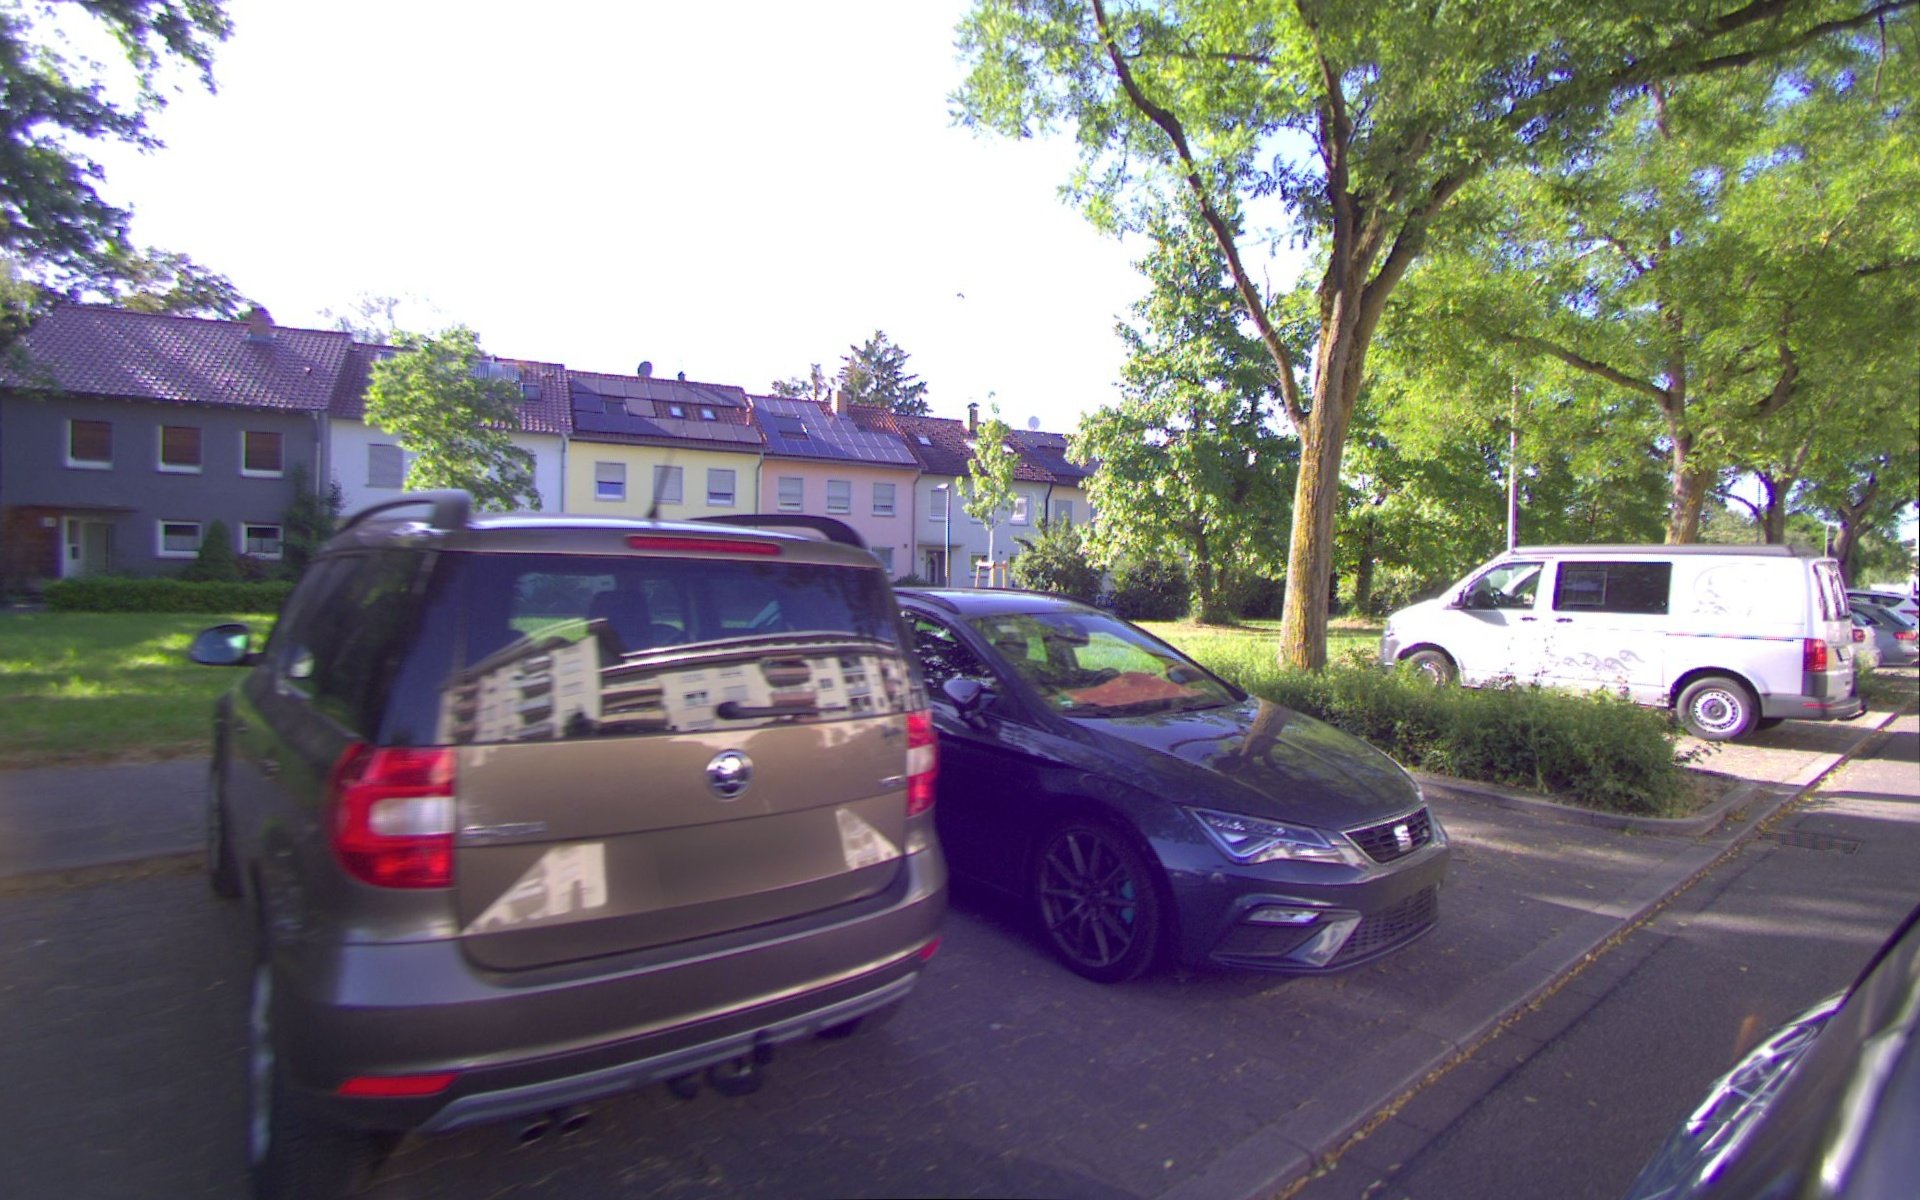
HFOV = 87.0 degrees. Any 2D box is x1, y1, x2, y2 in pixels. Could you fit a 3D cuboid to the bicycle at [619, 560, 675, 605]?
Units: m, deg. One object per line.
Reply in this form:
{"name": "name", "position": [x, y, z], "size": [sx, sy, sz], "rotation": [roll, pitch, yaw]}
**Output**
{"name": "bicycle", "position": [-10.878, -0.612, 35.058], "size": [0.810, 1.492, 2.916], "rotation": [0, 1, -40]}

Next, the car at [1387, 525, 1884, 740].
{"name": "car", "position": [7.723, 0.188, 11.970], "size": [1.985, 2.041, 4.462], "rotation": [0, 3, -40]}

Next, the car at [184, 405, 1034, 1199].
{"name": "car", "position": [-1.790, 0.439, 3.844], "size": [1.743, 1.716, 4.160], "rotation": [0, 3, -39]}

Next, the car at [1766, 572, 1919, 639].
{"name": "car", "position": [28.863, 0.133, 32.575], "size": [4.431, 1.945, 1.719], "rotation": [3, 3, 42]}

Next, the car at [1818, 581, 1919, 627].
{"name": "car", "position": [36.127, 0.168, 39.359], "size": [1.717, 1.572, 4.045], "rotation": [0, 4, -45]}

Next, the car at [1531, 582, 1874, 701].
{"name": "car", "position": [11.208, 0.530, 15.526], "size": [1.606, 1.453, 3.919], "rotation": [0, 3, -38]}

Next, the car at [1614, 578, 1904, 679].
{"name": "car", "position": [14.585, 0.437, 18.655], "size": [1.607, 1.452, 3.917], "rotation": [0, 4, -40]}

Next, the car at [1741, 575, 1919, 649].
{"name": "car", "position": [23.651, 0.278, 27.132], "size": [1.716, 1.786, 4.046], "rotation": [0, 2, -43]}

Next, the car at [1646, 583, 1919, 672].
{"name": "car", "position": [16.607, 0.469, 20.243], "size": [1.716, 1.489, 4.485], "rotation": [0, 3, -43]}

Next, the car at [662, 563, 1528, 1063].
{"name": "car", "position": [0.240, 0.588, 5.335], "size": [1.744, 1.431, 4.460], "rotation": [0, 3, -41]}

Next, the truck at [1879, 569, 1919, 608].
{"name": "truck", "position": [74.329, -0.920, 79.687], "size": [2.756, 2.835, 8.140], "rotation": [5, 4, 42]}

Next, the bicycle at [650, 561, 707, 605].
{"name": "bicycle", "position": [-9.842, -0.597, 35.259], "size": [0.810, 1.461, 2.916], "rotation": [0, 1, -40]}

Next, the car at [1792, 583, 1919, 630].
{"name": "car", "position": [32.261, 0.220, 35.825], "size": [4.142, 1.425, 1.717], "rotation": [5, 4, 44]}
